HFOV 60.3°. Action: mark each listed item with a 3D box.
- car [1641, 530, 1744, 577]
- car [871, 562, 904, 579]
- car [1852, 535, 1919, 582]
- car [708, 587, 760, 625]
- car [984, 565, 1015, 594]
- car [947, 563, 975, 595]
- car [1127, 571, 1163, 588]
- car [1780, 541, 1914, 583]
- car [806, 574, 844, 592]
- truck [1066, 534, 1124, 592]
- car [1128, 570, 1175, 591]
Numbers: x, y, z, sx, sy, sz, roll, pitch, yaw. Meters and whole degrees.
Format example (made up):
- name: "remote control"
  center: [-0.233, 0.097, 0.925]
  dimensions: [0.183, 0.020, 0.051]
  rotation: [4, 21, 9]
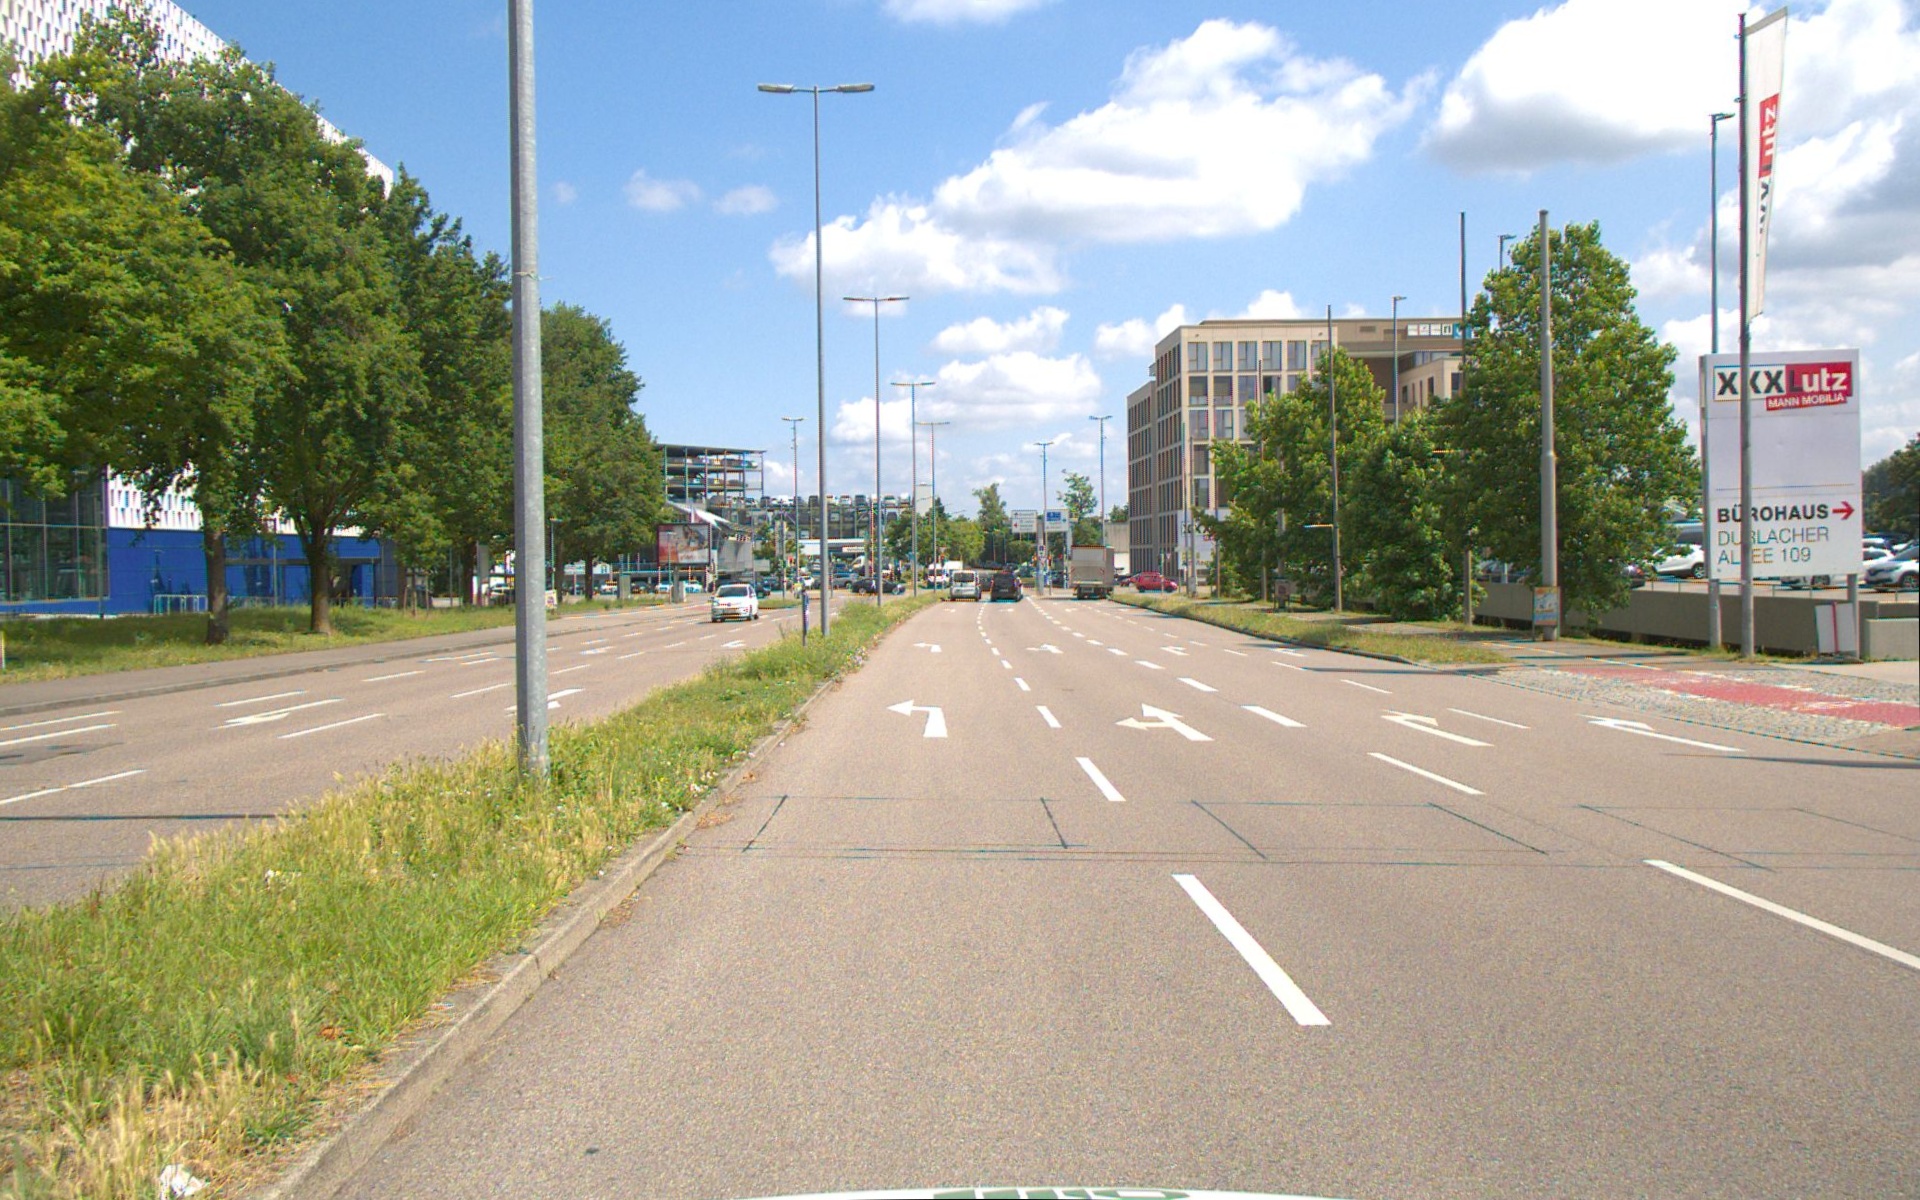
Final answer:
- name: "car"
  center: [34.443, -2.182, 77.817]
  dimensions: [3.906, 2.048, 2.000]
  rotation: [-2, 1, 0]
- name: "car"
  center: [-8.826, -3.594, 201.356]
  dimensions: [3.909, 1.959, 1.825]
  rotation: [0, 1, -5]
- name: "car"
  center: [33.621, -1.444, 57.758]
  dimensions: [3.907, 1.598, 1.999]
  rotation: [-1, 1, -3]
- name: "car"
  center: [-9.222, 0.221, 67.703]
  dimensions: [1.610, 1.453, 3.669]
  rotation: [-2, 1, -1]
- name: "car"
  center: [2.553, -1.344, 106.723]
  dimensions: [1.781, 1.840, 4.003]
  rotation: [0, 1, 4]
- name: "car"
  center: [0.050, -1.412, 108.476]
  dimensions: [1.818, 2.053, 4.000]
  rotation: [0, 2, -1]
- name: "car"
  center: [17.324, -1.936, 155.119]
  dimensions: [3.206, 1.428, 1.335]
  rotation: [0, 10, -1]
- name: "car"
  center: [33.600, -1.449, 62.695]
  dimensions: [4.101, 1.413, 1.892]
  rotation: [-2, 2, -4]
- name: "car"
  center: [-13.891, -1.774, 170.069]
  dimensions: [3.784, 1.668, 1.857]
  rotation: [-2, 2, -2]
- name: "truck"
  center: [9.912, -2.751, 120.909]
  dimensions: [3.063, 4.009, 8.867]
  rotation: [0, 2, 12]
- name: "car"
  center: [16.301, -1.667, 140.429]
  dimensions: [3.902, 1.690, 2.002]
  rotation: [0, 2, 8]
